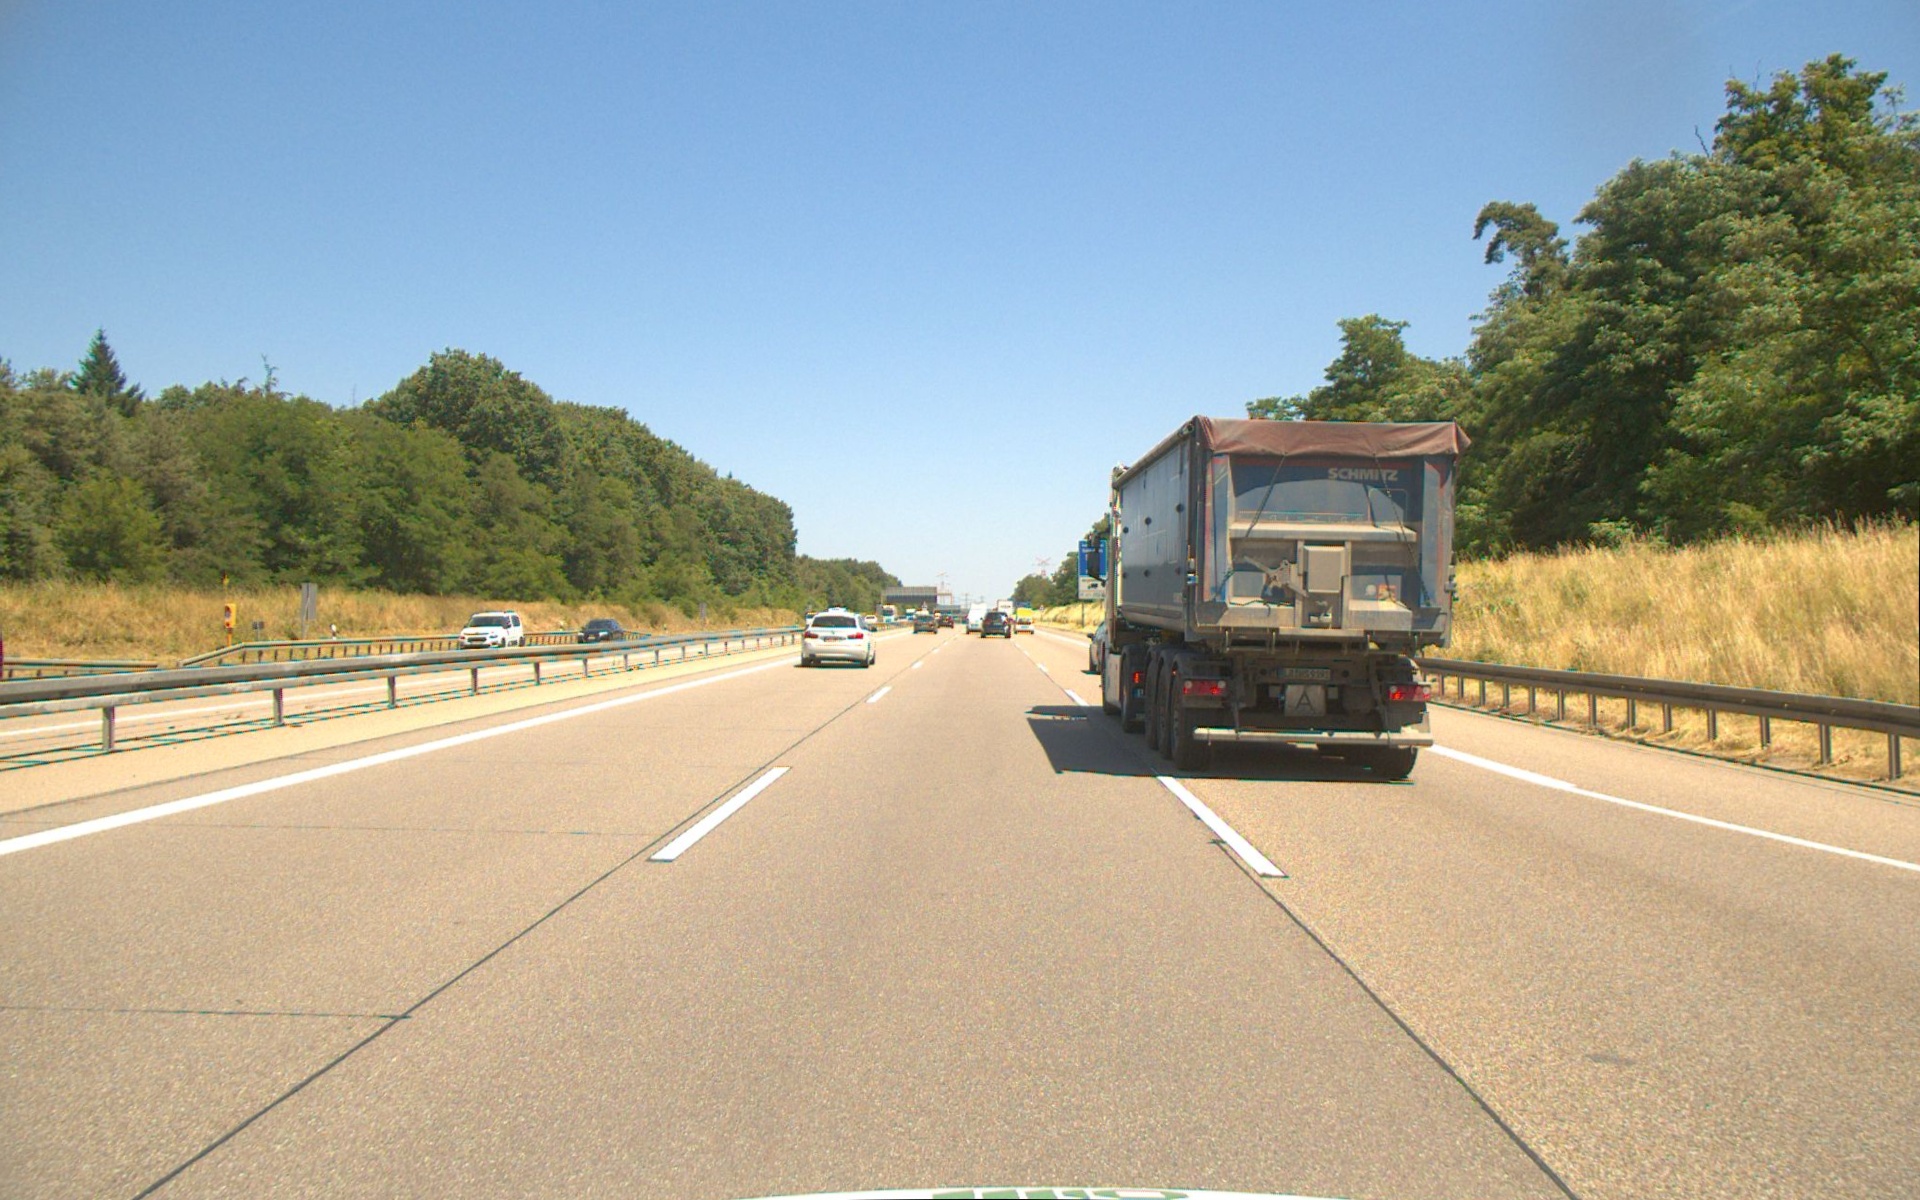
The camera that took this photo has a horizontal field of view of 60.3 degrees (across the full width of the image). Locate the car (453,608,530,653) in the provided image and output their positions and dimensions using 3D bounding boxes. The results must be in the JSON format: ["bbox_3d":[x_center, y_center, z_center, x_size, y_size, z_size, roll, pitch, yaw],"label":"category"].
[{"bbox_3d":[-20.307,1.302,71.839,1.952,1.860,4.642,-2,-1,1],"label":"car"}]

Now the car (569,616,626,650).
[{"bbox_3d":[-19.913,1.783,90.988,1.952,1.733,4.979,-2,-1,1],"label":"car"}]

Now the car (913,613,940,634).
[{"bbox_3d":[-2.524,1.779,125.984,1.794,1.457,4.999,1,0,1],"label":"car"}]

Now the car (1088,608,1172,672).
[{"bbox_3d":[4.378,1.002,43.088,1.684,1.517,3.736,1,0,-1],"label":"car"}]

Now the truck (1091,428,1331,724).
[{"bbox_3d":[3.494,-0.312,24.456,2.629,3.824,5.943,1,0,0],"label":"truck"}]

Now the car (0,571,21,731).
[{"bbox_3d":[-12.978,0.626,18.373,2.233,1.974,4.943,0,0,1],"label":"car"}]

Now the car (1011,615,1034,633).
[{"bbox_3d":[5.277,2.034,140.003,1.784,1.518,3.737,1,-1,1],"label":"car"}]

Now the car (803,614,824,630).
[{"bbox_3d":[-18.140,2.729,204.986,1.952,1.987,5.245,-2,-1,1],"label":"car"}]

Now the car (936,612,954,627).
[{"bbox_3d":[-1.591,2.121,180.117,1.837,1.608,3.928,1,0,1],"label":"car"}]

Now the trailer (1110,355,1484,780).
[{"bbox_3d":[3.468,-0.296,19.545,2.680,3.824,9.110,1,0,1],"label":"trailer"}]

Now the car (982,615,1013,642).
[{"bbox_3d":[2.462,1.861,109.547,1.794,1.701,3.999,2,-1,-1],"label":"car"}]

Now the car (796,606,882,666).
[{"bbox_3d":[-3.331,0.982,46.326,1.923,1.530,5.404,1,-1,1],"label":"car"}]

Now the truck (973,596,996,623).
[{"bbox_3d":[2.761,1.154,188.510,2.379,2.935,6.203,1,-1,-1],"label":"truck"}]

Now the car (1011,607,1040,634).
[{"bbox_3d":[6.674,2.077,168.618,2.612,2.680,6.111,1,-1,-1],"label":"car"}]

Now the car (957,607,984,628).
[{"bbox_3d":[0.834,1.358,129.635,1.856,1.495,4.259,2,0,-3],"label":"car"}]
